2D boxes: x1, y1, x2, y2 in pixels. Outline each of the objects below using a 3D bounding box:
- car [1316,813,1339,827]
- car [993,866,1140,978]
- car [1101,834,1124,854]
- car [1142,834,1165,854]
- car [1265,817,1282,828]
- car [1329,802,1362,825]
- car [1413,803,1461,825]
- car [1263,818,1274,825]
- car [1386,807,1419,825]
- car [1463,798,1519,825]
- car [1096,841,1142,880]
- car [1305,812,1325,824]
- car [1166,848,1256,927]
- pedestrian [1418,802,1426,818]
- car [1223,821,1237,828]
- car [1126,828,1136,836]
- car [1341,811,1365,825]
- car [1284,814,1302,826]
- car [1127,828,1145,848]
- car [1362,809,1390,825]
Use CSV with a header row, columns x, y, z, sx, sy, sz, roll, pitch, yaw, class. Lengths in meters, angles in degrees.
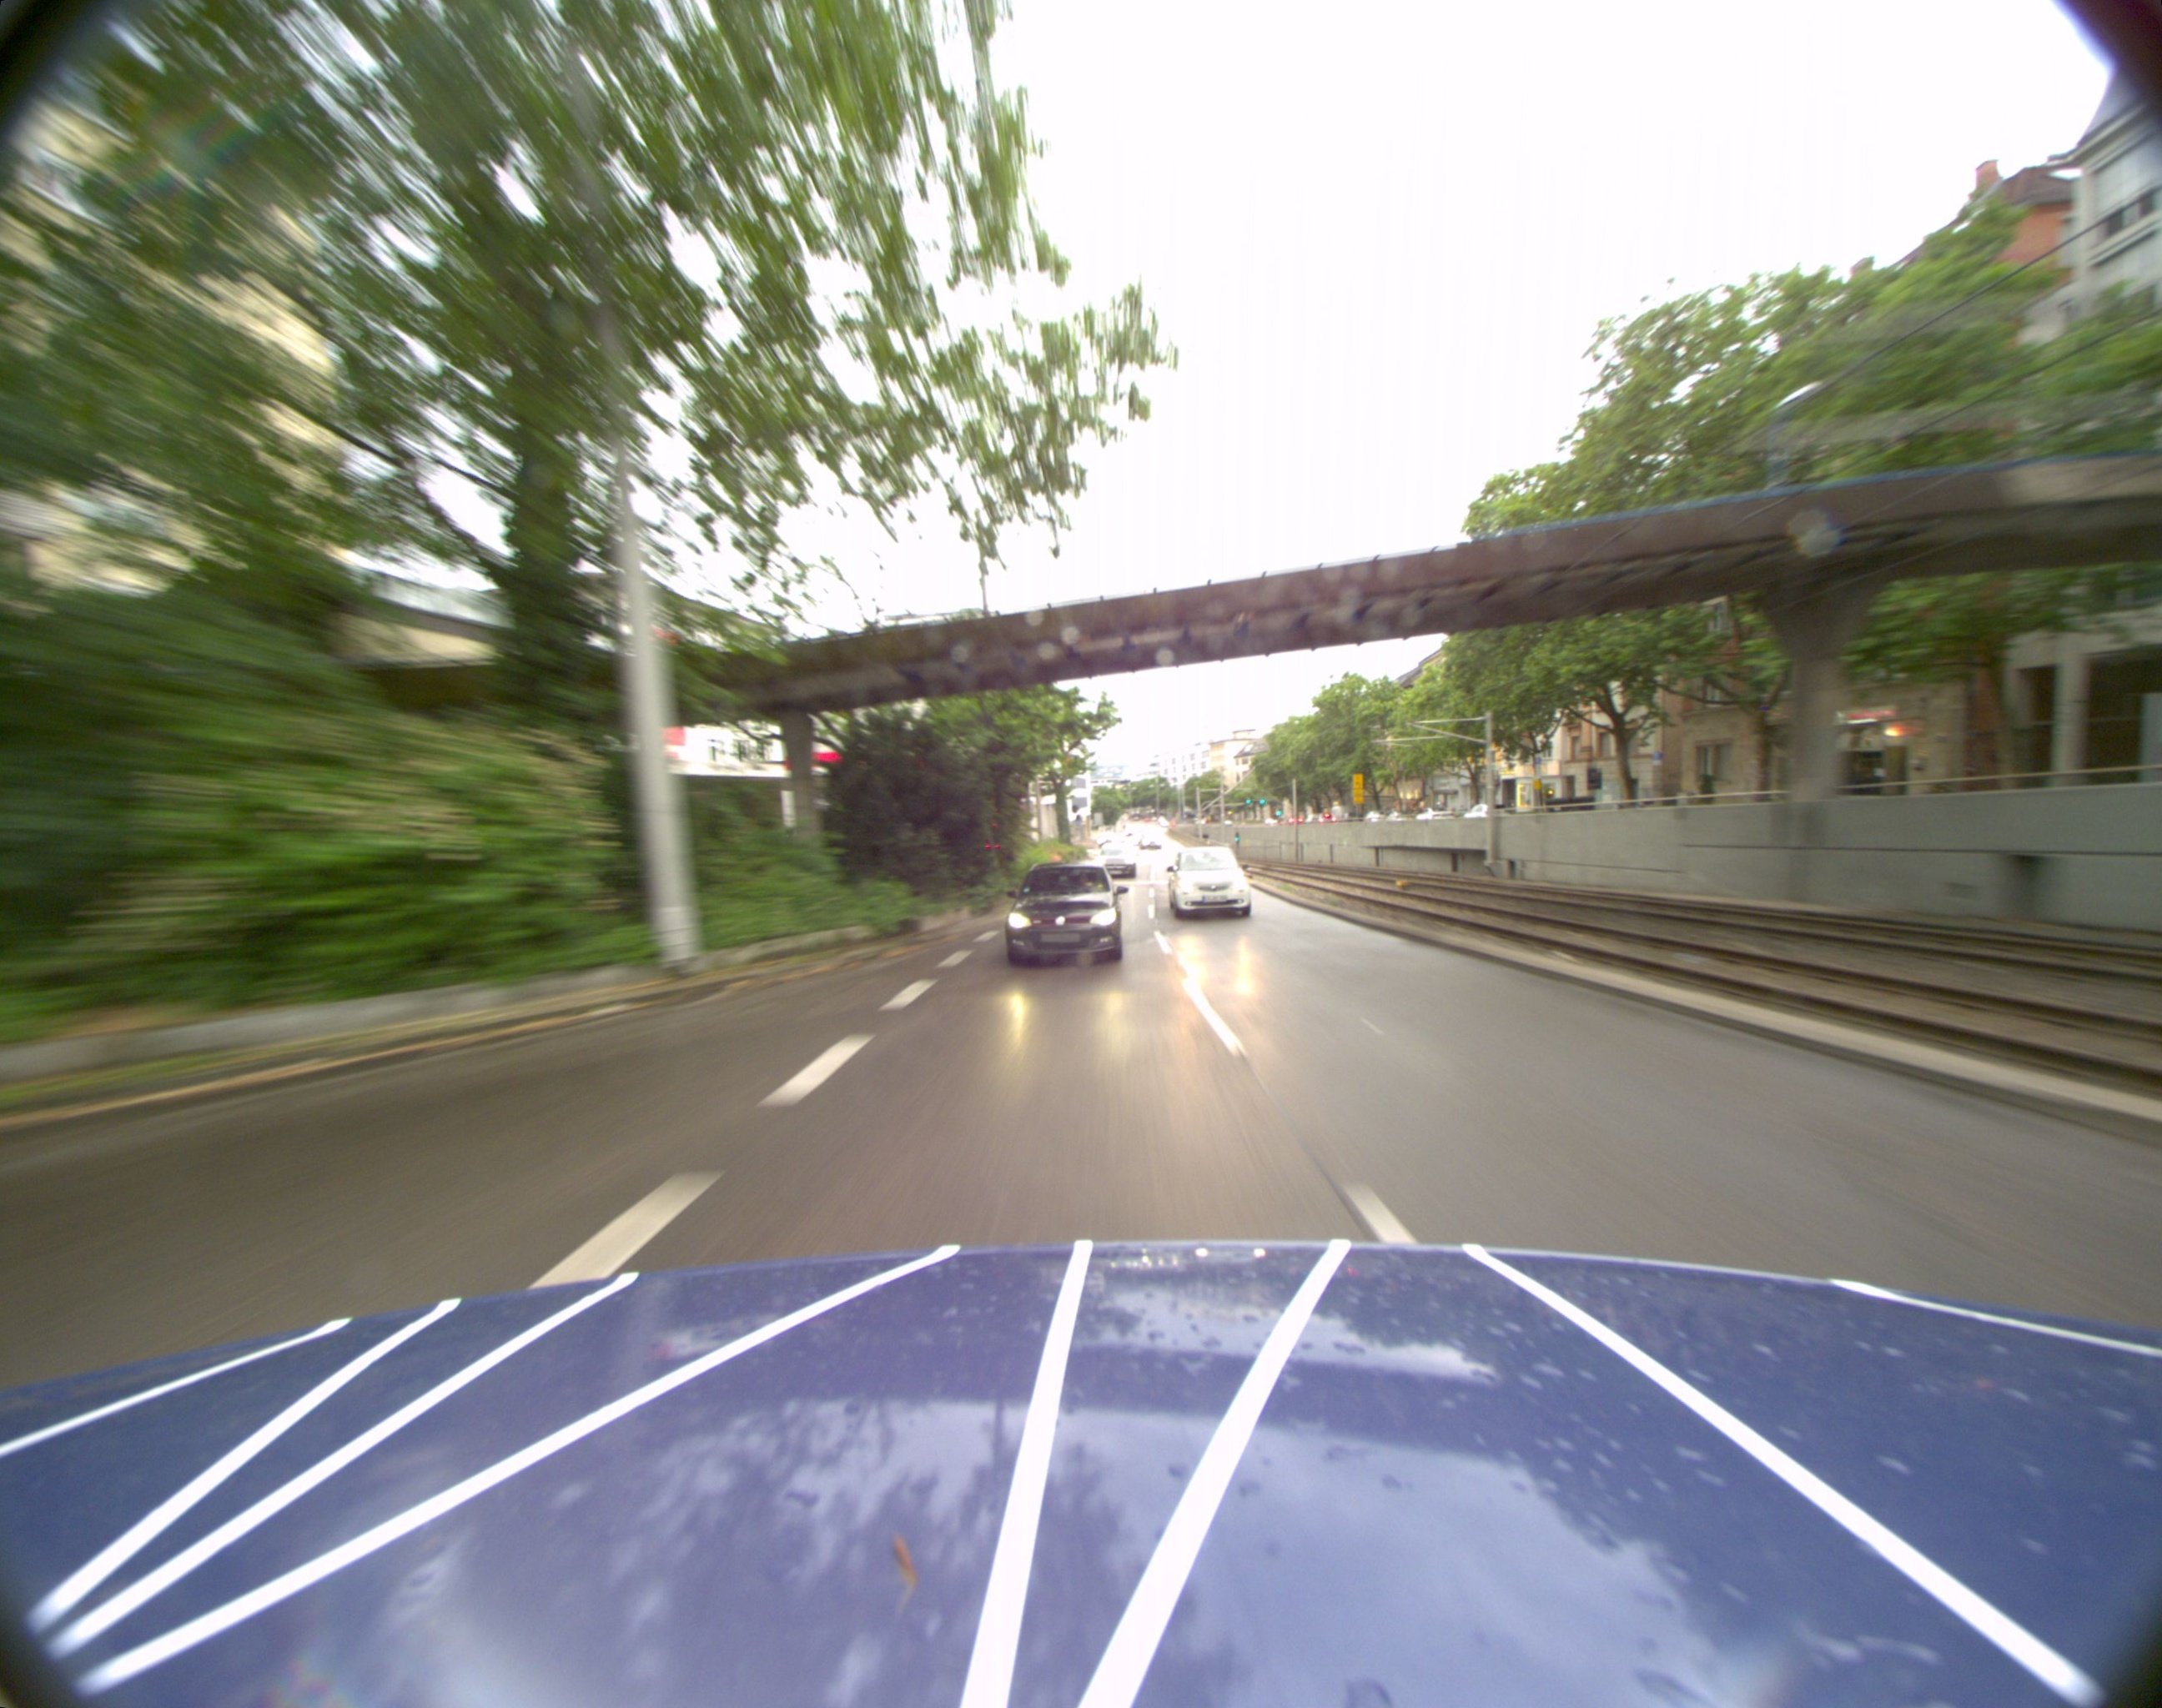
x,y,z,sx,sy,sz,roll,pitch,yaw,class
30.195,-4.151,93.217,1.798,1.502,4.109,-5,2,7,car
-0.054,0.949,12.057,1.677,1.391,3.851,-2,0,9,car
3.048,-0.984,72.919,1.798,1.657,3.999,-5,3,5,car
6.429,-0.923,67.402,1.798,1.502,3.999,-5,3,5,car
29.509,-4.773,116.331,1.798,1.502,4.000,-5,2,5,car
34.828,-5.264,100.251,2.457,2.647,6.932,-5,2,7,car
29.013,-3.244,62.046,1.931,1.592,5.200,-5,2,7,car
42.823,-7.475,173.632,1.850,1.502,4.018,-5,2,10,car
30.580,-3.601,72.424,1.798,1.502,4.208,-5,2,8,car
27.268,-2.796,50.698,1.798,1.602,4.112,-5,2,7,car
1.729,0.240,33.403,1.750,1.433,3.706,1,4,7,car
37.692,-5.724,122.333,1.881,1.754,4.900,-5,2,3,car
2.978,0.702,18.156,1.798,1.528,4.001,-3,1,6,car
38.296,-4.950,85.375,0.524,1.738,0.622,-6,2,15,pedestrian
35.901,-7.169,183.689,2.032,1.502,4.879,-5,2,-4,car
10.476,-4.632,158.638,1.798,1.502,3.998,-5,3,2,car
33.741,-4.467,94.458,1.798,1.502,4.672,-5,2,7,car
33.715,-5.398,120.867,1.960,1.842,4.969,-5,2,8,car
6.209,-1.803,85.170,1.798,2.021,3.999,-5,3,5,car
32.240,-4.036,83.046,1.798,1.562,4.208,-5,2,8,car
